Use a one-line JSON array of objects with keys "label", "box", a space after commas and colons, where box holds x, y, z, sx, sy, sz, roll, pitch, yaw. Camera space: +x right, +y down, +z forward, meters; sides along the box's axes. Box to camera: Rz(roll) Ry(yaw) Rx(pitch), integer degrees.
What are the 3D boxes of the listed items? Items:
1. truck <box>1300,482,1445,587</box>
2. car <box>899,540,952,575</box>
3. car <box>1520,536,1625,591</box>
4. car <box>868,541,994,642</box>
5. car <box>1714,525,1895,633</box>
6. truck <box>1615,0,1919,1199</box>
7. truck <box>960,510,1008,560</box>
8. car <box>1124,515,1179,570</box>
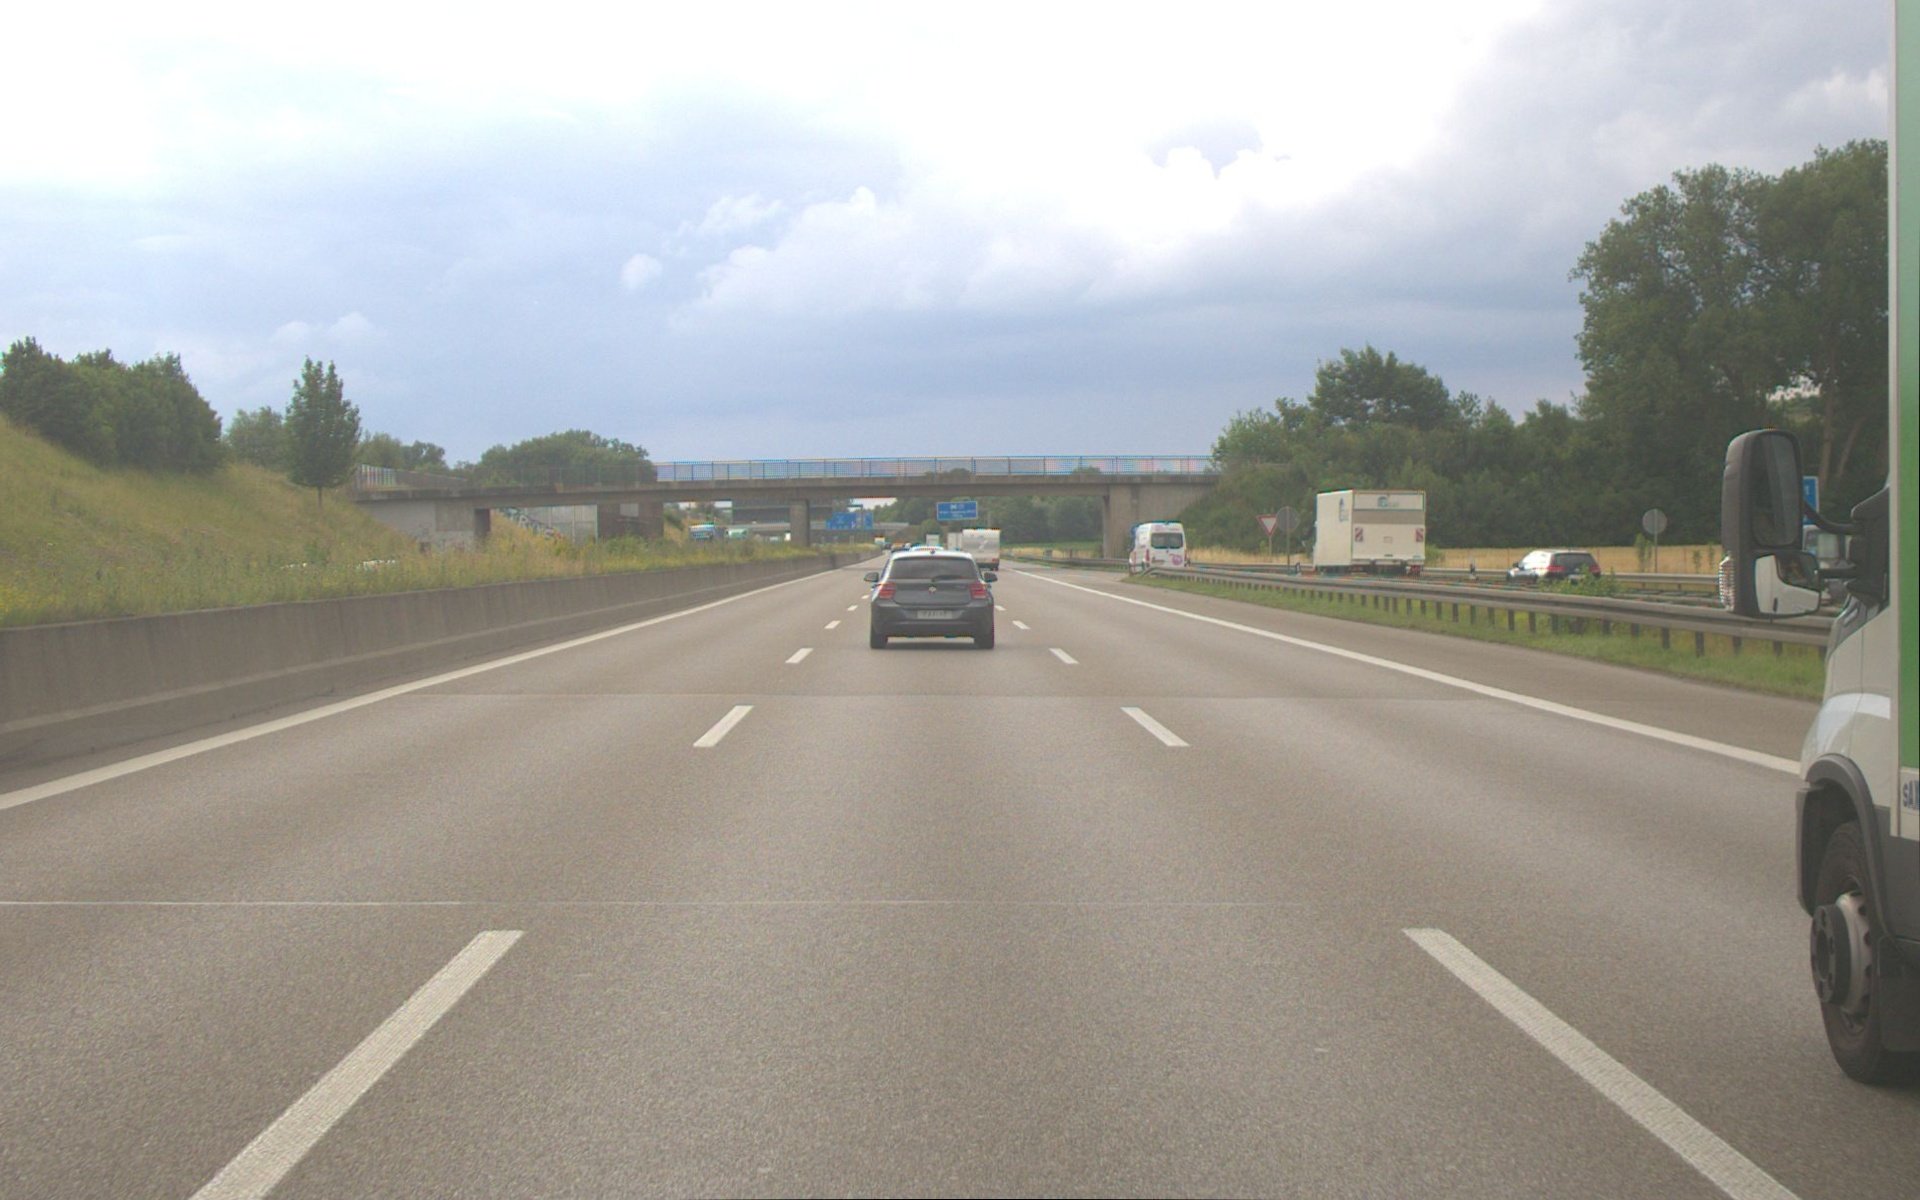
[{"label": "truck", "box": [14.352, -2.278, 120.324, 3.104, 3.459, 8.893, 1, 1, -6]}, {"label": "car", "box": [-1.338, -1.655, 133.221, 1.993, 1.294, 4.000, -1, 1, -1]}, {"label": "car", "box": [17.986, -1.080, 101.144, 1.917, 1.545, 4.924, -1, 1, -3]}, {"label": "car", "box": [-0.422, -0.157, 50.026, 1.743, 1.384, 4.000, 1, 1, -1]}, {"label": "car", "box": [16.635, -0.448, 67.968, 2.143, 2.056, 4.958, 0, 1, -3]}, {"label": "truck", "box": [3.538, -0.334, 6.396, 2.770, 3.492, 9.063, 1, 1, -1]}, {"label": "truck", "box": [1.452, -4.014, 214.433, 2.710, 2.954, 12.448, 1, 1, -1]}, {"label": "car", "box": [9.194, -2.769, 165.277, 2.221, 2.559, 6.256, 0, 1, -1]}]
